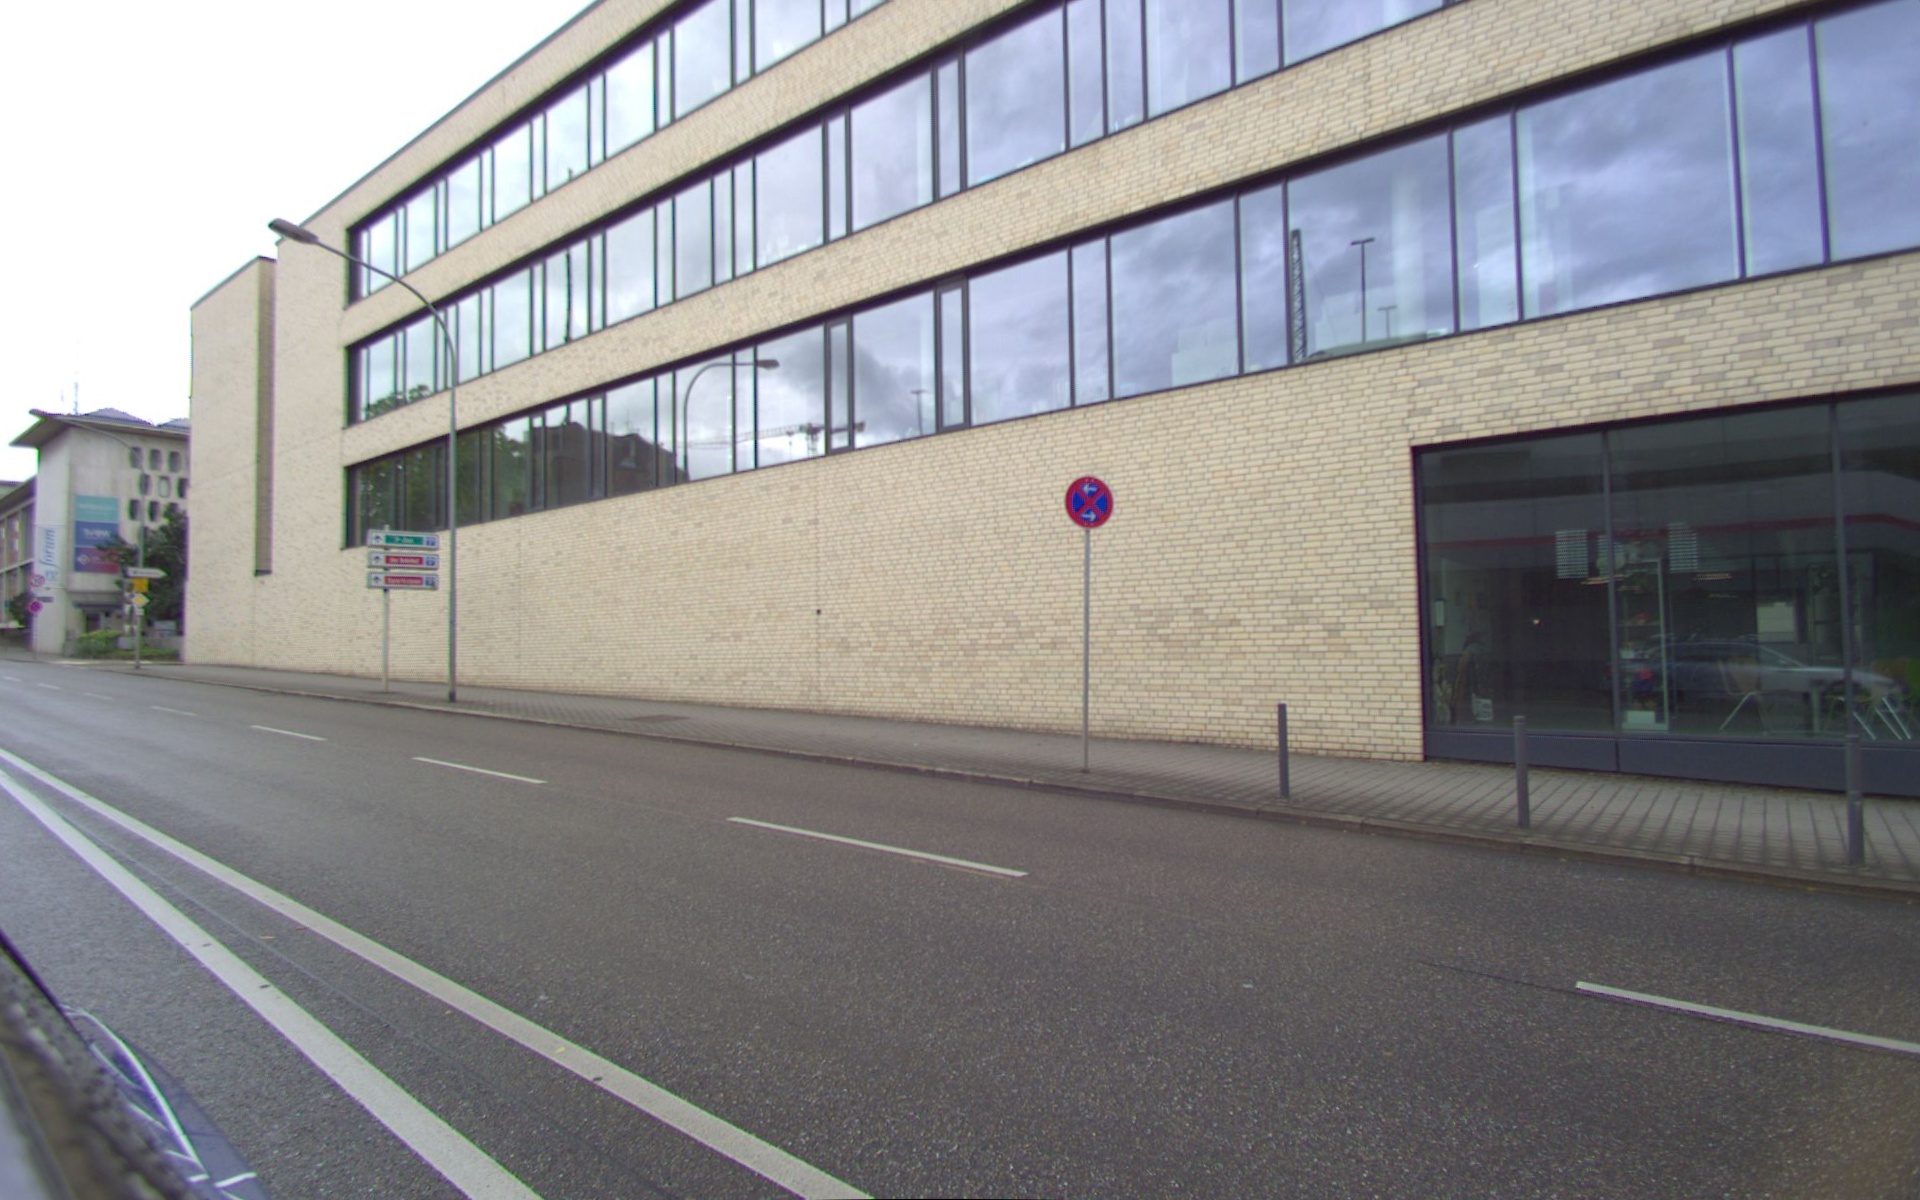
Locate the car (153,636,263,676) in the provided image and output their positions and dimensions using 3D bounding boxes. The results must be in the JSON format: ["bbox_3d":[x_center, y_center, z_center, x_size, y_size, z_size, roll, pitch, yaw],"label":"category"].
[{"bbox_3d":[-34.957,2.572,47.182,3.931,1.674,1.867,0,-1,-30],"label":"car"}]
